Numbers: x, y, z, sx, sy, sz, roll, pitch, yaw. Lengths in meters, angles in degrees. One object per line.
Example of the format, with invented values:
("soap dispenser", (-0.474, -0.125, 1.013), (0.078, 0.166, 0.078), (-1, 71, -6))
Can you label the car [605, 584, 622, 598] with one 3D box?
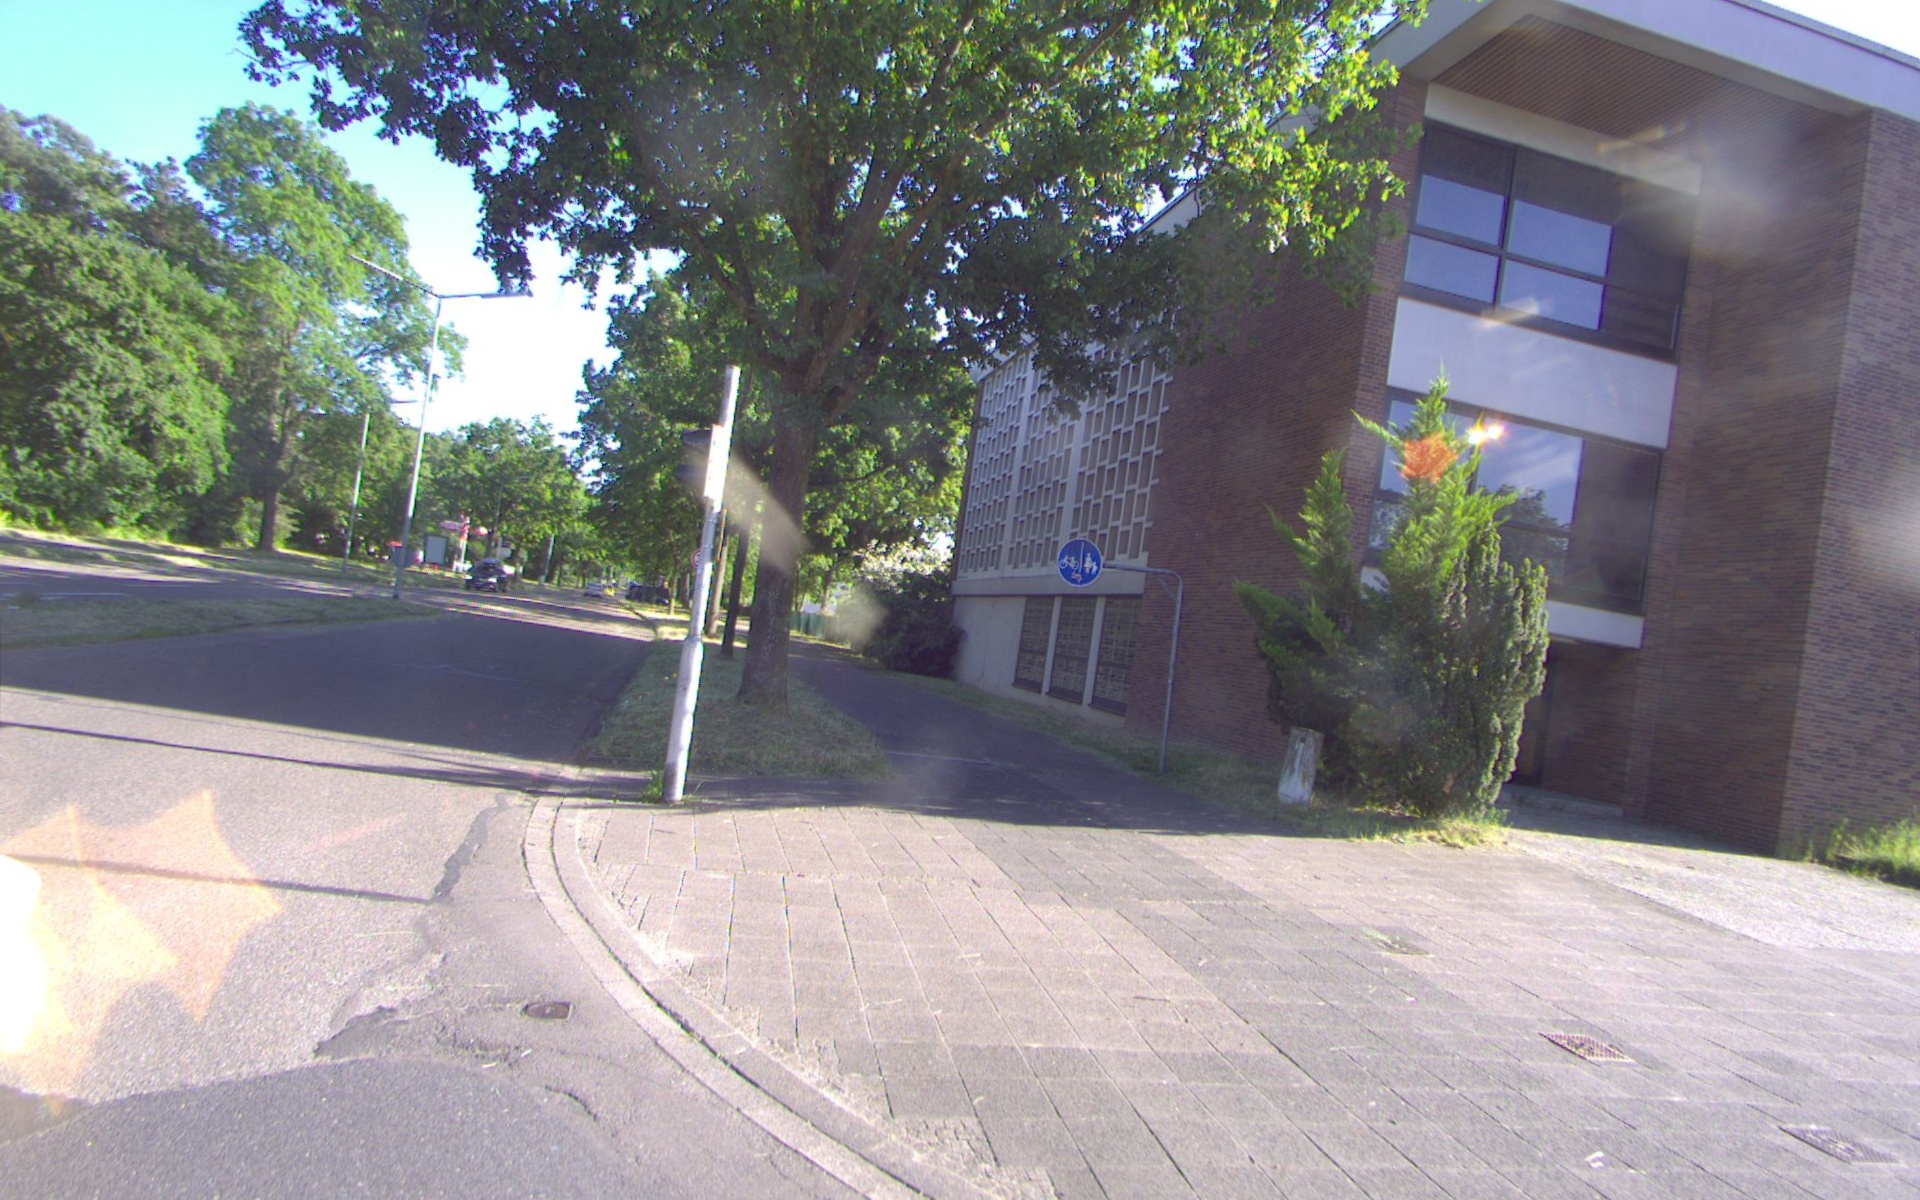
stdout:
("car", (-40.771, -0.994, 118.452), (1.643, 1.351, 3.653), (8, -3, -18))

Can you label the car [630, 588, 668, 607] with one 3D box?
("car", (-31.971, -0.246, 103.359), (3.613, 1.413, 1.313), (9, -3, -18))

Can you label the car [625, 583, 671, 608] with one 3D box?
("car", (-32.914, -0.456, 106.203), (4.453, 1.974, 1.682), (8, -3, -18))

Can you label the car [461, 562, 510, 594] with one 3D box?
("car", (-29.938, -1.340, 63.644), (1.817, 1.728, 4.493), (8, -2, -15))

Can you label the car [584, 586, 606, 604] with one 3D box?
("car", (-34.429, -0.471, 94.956), (1.643, 1.351, 3.653), (8, -3, -18))

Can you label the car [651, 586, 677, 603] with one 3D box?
("car", (-45.395, -0.863, 154.212), (3.528, 2.071, 1.629), (8, -6, -18))
